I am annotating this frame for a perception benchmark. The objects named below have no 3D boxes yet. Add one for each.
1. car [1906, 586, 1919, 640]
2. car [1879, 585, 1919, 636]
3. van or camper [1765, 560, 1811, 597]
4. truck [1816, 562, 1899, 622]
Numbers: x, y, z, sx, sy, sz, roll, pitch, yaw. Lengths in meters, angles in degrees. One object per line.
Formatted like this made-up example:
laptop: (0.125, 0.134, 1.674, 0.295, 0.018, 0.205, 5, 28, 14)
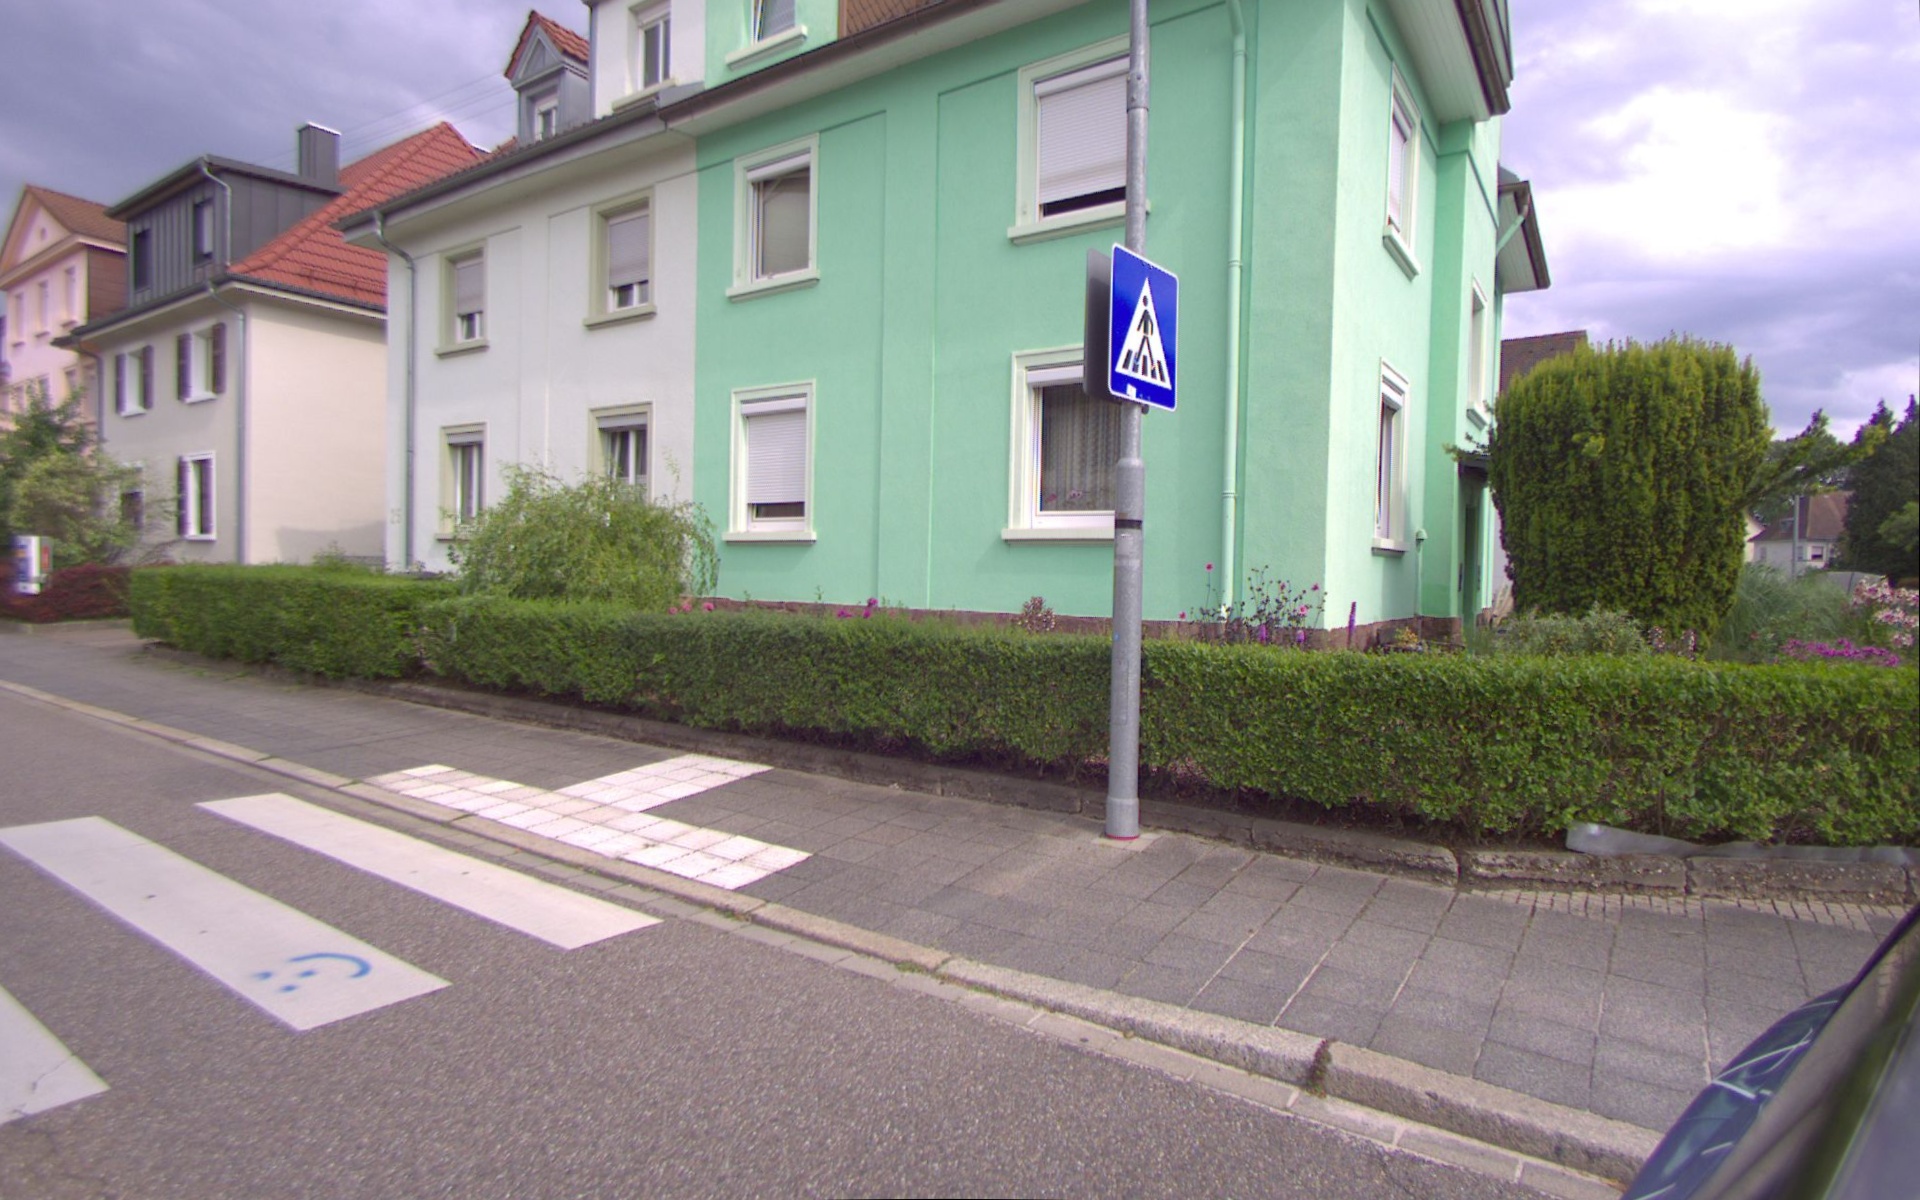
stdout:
car: (29.598, 0.444, 29.569, 1.985, 1.611, 4.293, 2, 2, 32)
car: (32.984, 0.332, 34.248, 1.985, 1.611, 4.293, 2, 2, 32)
van or camper: (60.797, -1.593, 74.392, 2.134, 2.572, 4.953, 2, 2, 34)
truck: (42.417, -0.412, 47.946, 2.121, 2.690, 4.532, 2, 2, 32)
